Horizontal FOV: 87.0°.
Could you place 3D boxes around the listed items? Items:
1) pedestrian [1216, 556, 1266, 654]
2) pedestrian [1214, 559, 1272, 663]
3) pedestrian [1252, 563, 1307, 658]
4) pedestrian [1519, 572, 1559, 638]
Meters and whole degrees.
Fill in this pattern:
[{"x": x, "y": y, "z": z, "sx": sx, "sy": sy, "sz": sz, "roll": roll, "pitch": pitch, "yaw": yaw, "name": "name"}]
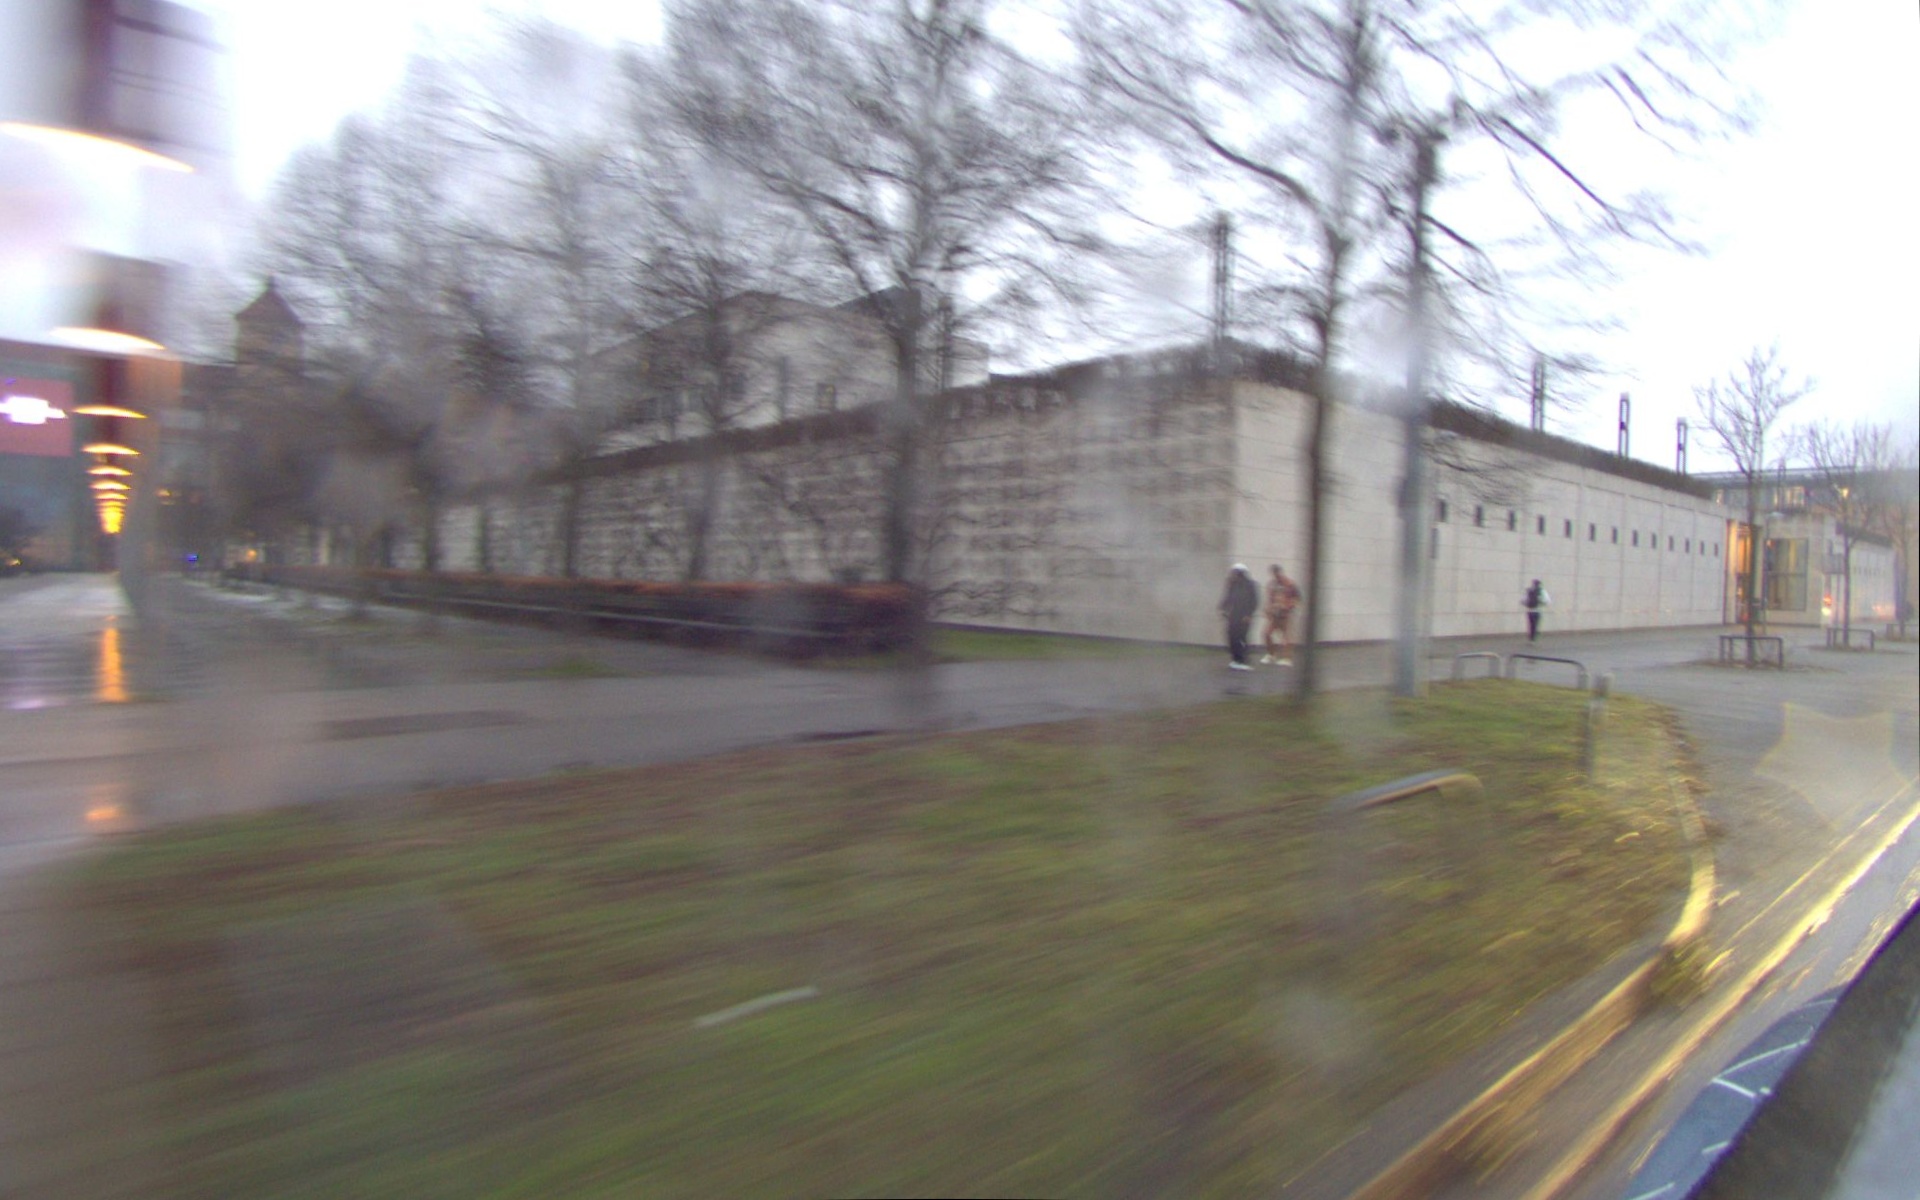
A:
[{"x": 5.257, "y": 0.085, "z": 18.965, "sx": 0.602, "sy": 1.800, "sz": 0.676, "roll": 0, "pitch": 0, "yaw": -27, "name": "pedestrian"}, {"x": 4.582, "y": 0.167, "z": 16.427, "sx": 0.601, "sy": 1.646, "sz": 0.676, "roll": 0, "pitch": 0, "yaw": -25, "name": "pedestrian"}, {"x": 5.603, "y": 0.173, "z": 17.756, "sx": 0.602, "sy": 1.632, "sz": 0.676, "roll": 0, "pitch": 0, "yaw": -27, "name": "pedestrian"}, {"x": 15.197, "y": 0.119, "z": 26.557, "sx": 0.667, "sy": 1.675, "sz": 0.979, "roll": 3, "pitch": 3, "yaw": 44, "name": "pedestrian"}]
